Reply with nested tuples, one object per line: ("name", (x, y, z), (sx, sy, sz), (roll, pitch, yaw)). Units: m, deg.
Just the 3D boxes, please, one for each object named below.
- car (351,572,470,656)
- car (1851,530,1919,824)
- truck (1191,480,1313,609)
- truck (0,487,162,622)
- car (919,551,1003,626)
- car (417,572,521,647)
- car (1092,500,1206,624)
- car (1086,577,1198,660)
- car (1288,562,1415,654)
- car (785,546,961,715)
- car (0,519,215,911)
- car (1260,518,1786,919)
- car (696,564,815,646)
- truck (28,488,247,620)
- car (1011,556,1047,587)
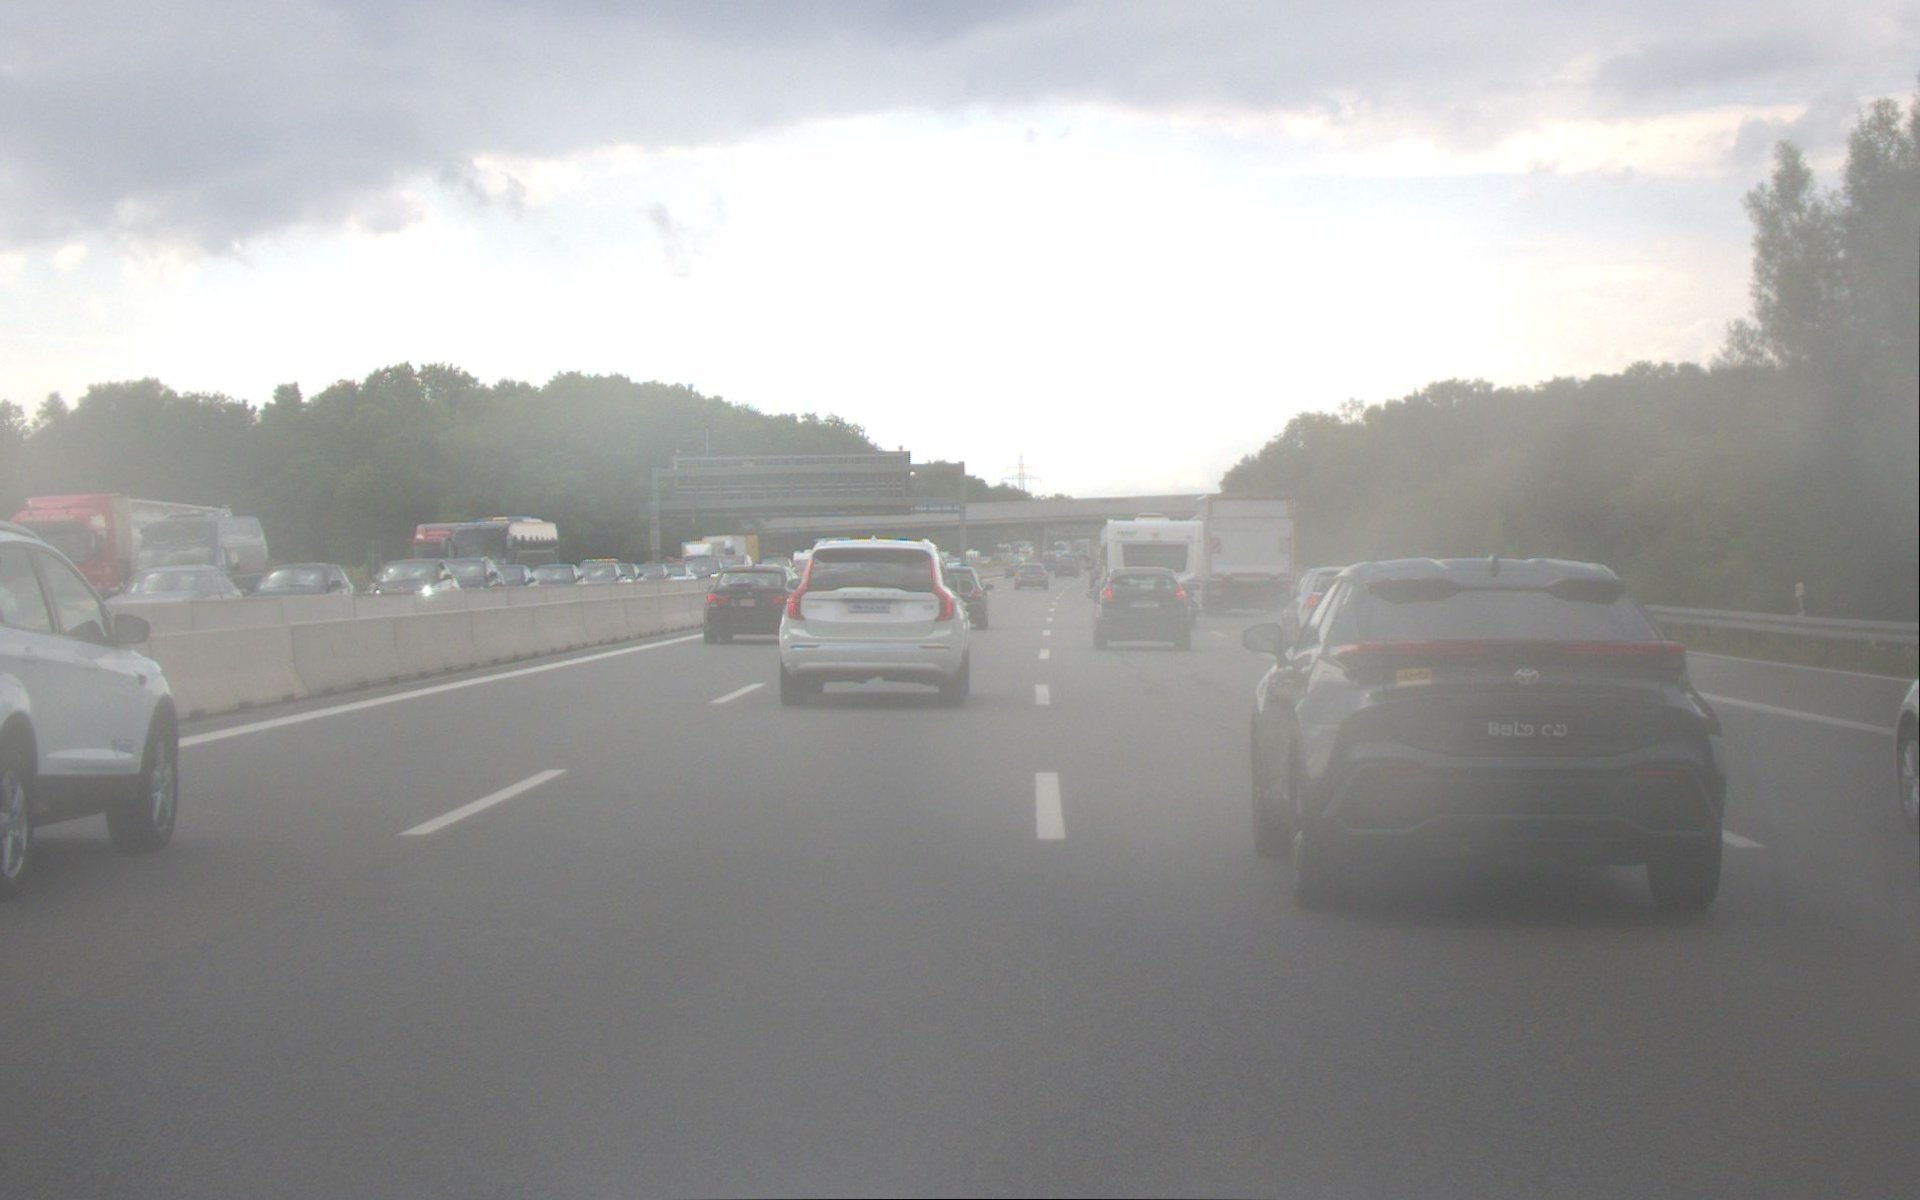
("car", (-13.366, 0.320, 83.903), (1.993, 1.960, 4.696), (0, 1, 2))
("car", (6.099, 0.431, 17.794), (1.810, 1.593, 4.696), (0, 1, 1))
("truck", (8.751, -1.658, 104.150), (3.133, 3.697, 9.847), (0, 1, 2))
("truck", (-25.047, -1.277, 97.435), (3.150, 3.699, 6.318), (0, 1, 2))
("car", (0.029, -0.290, 79.436), (1.881, 1.680, 4.000), (0, 1, 0))
("car", (-13.300, 0.244, 93.306), (1.993, 1.960, 4.696), (0, 1, 2))
("car", (4.549, -0.921, 83.760), (2.567, 2.885, 7.533), (0, 1, 2))
("car", (3.231, 0.306, 61.661), (1.885, 1.402, 4.282), (0, 1, 2))
("car", (6.504, 0.105, 57.510), (1.795, 1.472, 4.037), (0, 1, 2))
("car", (-0.887, 0.288, 37.231), (1.781, 1.710, 4.353), (0, 1, 0))
("car", (-5.029, 0.470, 16.491), (1.815, 1.684, 4.852), (0, 1, 0))
("car", (2.472, 0.452, 16.172), (1.781, 1.607, 4.598), (0, 1, 1))
("car", (-3.832, 0.069, 65.183), (1.781, 1.476, 4.352), (0, 1, 3))
("truck", (-24.852, -1.387, 104.711), (3.149, 3.732, 13.299), (0, 1, 2))
("car", (3.770, -1.581, 188.275), (1.881, 1.680, 4.000), (0, 1, 0))
